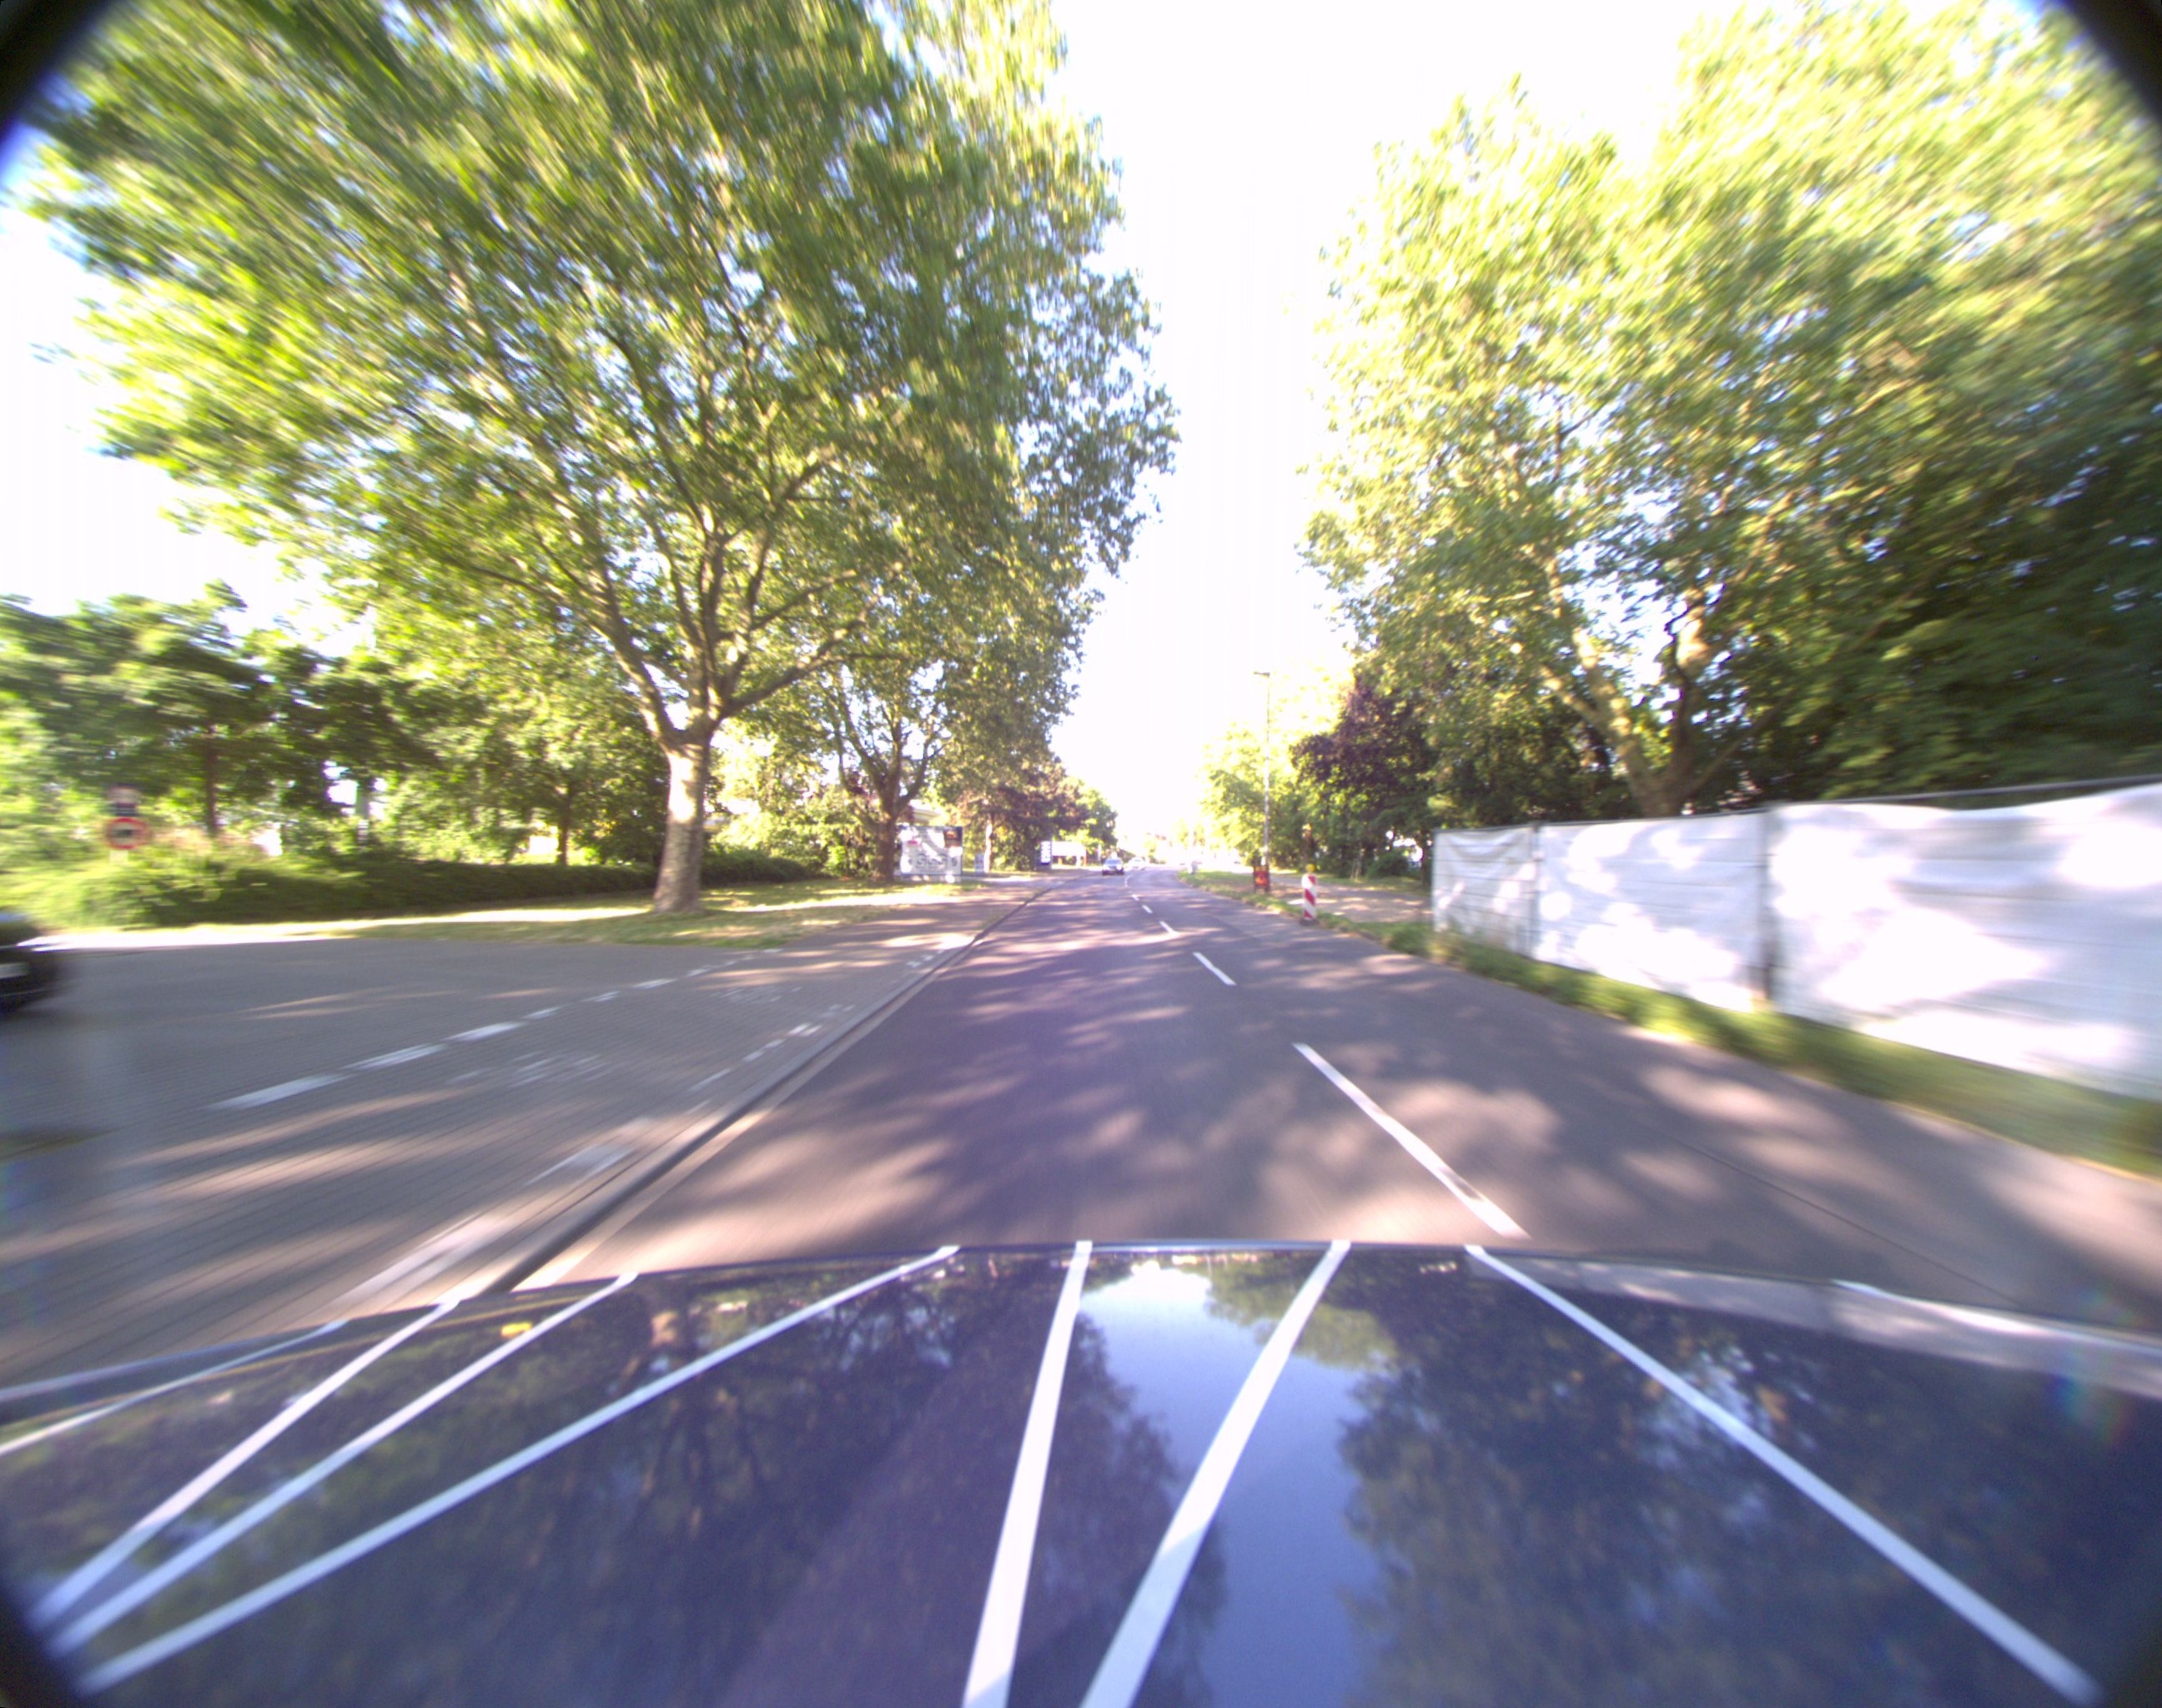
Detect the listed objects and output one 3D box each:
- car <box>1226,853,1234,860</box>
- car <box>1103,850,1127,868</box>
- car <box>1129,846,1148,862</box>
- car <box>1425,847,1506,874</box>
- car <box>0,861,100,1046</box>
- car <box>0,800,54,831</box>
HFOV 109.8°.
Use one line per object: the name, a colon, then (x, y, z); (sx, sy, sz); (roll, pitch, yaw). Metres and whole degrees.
car: (37.684, 0.641, 192.184); (1.763, 1.474, 4.113); (-1, -1, 17)
car: (2.933, 0.384, 65.140); (1.869, 1.471, 4.088); (1, 0, 5)
car: (7.281, -0.008, 95.881); (1.933, 2.002, 4.003); (0, 1, 11)
car: (23.780, 0.364, 47.114); (3.996, 1.592, 1.929); (0, 1, 2)
car: (-10.558, 0.757, 5.843); (3.995, 1.435, 1.761); (1, 1, 4)
car: (-59.265, -2.146, 41.062); (1.997, 1.608, 4.002); (1, 0, 7)
